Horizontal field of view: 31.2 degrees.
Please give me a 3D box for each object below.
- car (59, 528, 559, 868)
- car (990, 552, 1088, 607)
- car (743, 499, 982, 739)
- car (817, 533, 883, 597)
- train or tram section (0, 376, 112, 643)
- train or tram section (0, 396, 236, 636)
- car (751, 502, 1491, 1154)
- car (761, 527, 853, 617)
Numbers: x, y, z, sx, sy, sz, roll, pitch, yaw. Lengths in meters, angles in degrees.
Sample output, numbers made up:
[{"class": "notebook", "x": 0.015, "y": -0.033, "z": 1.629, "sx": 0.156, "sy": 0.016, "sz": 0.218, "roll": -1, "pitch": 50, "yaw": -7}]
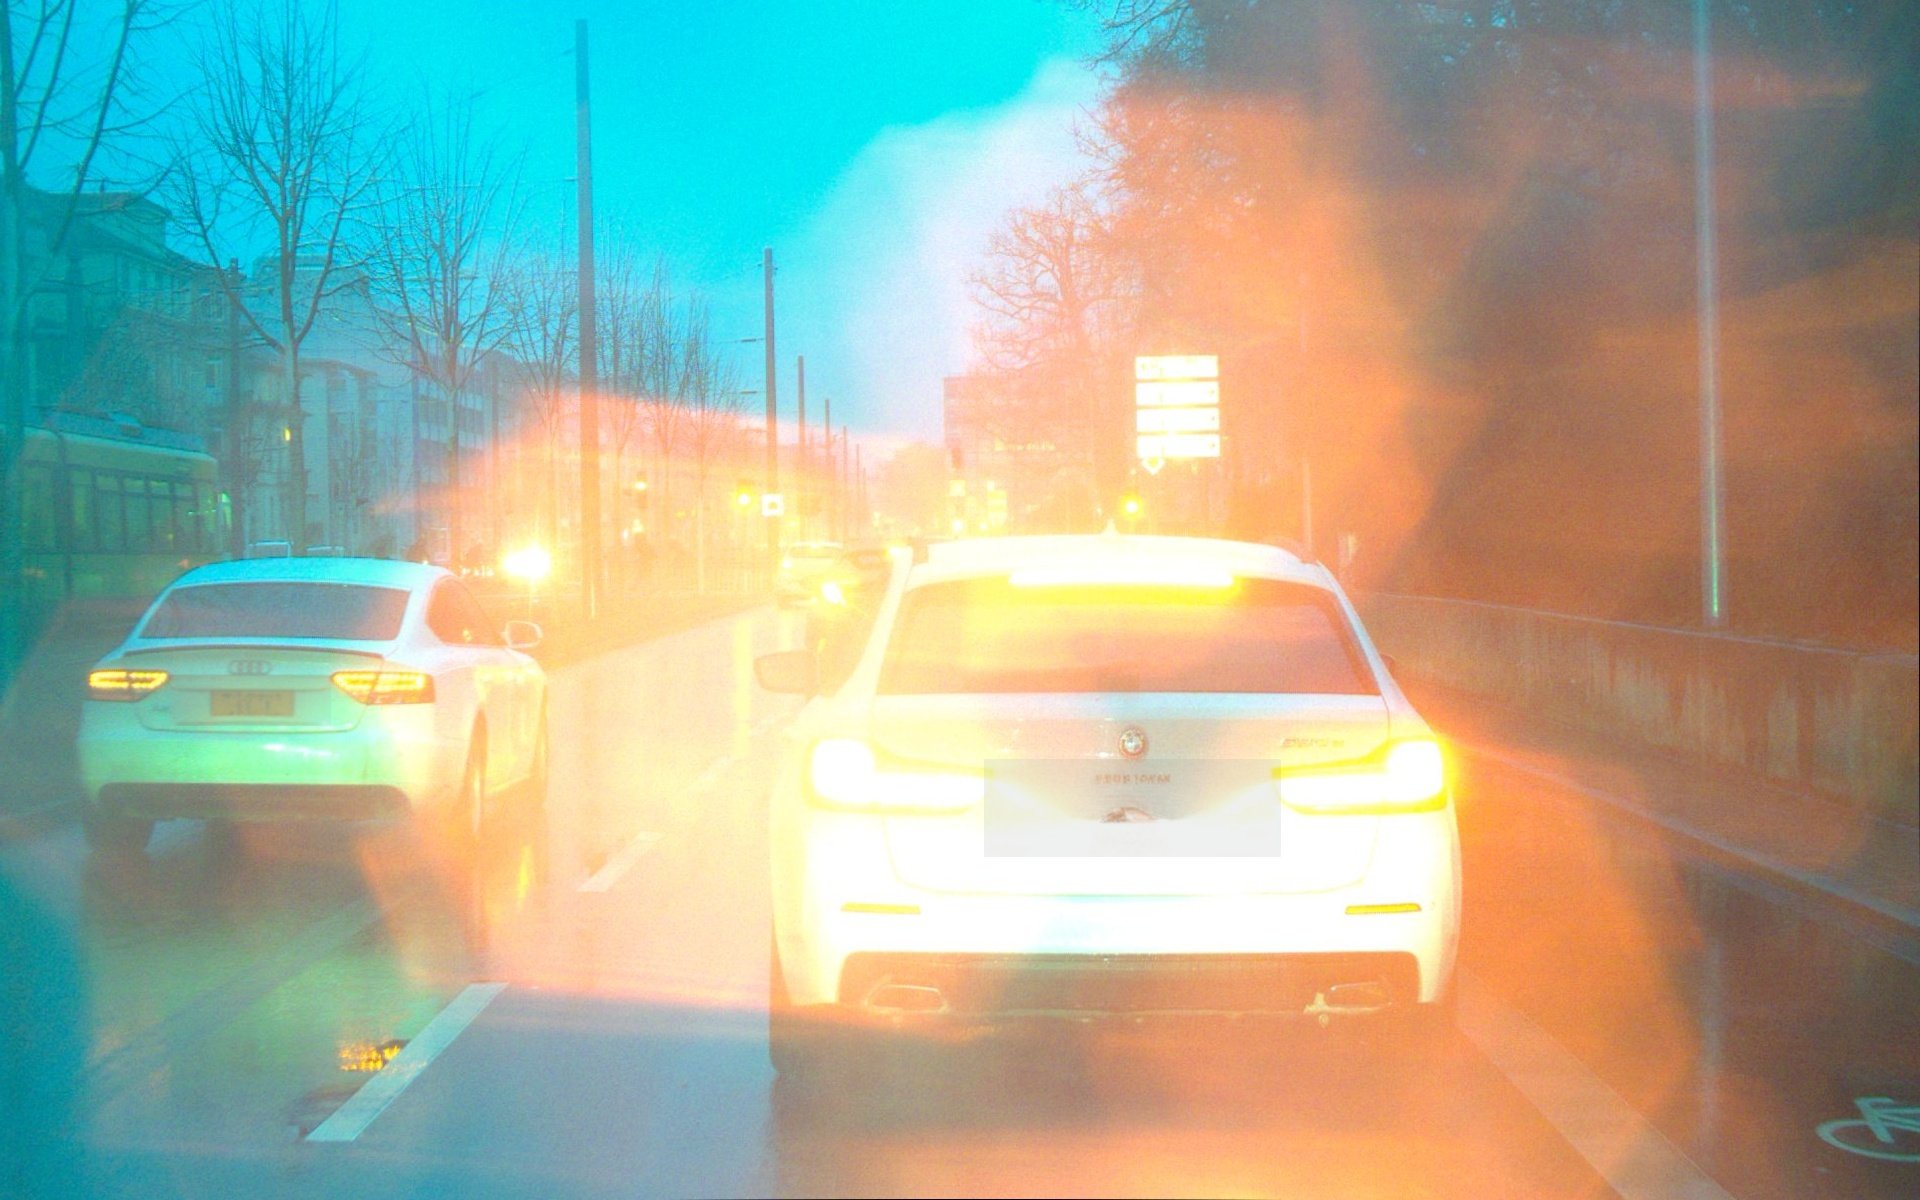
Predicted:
[{"class": "car", "x": -3.084, "y": 0.398, "z": 17.102, "sx": 1.759, "sy": 1.464, "sz": 4.252, "roll": 1, "pitch": 1, "yaw": -1}, {"class": "car", "x": 2.987, "y": -0.789, "z": 129.200, "sx": 1.997, "sy": 2.007, "sz": 3.993, "roll": 1, "pitch": 1, "yaw": 30}, {"class": "car", "x": -0.844, "y": 0.131, "z": 31.003, "sx": 1.993, "sy": 2.007, "sz": 4.000, "roll": 1, "pitch": 1, "yaw": -1}, {"class": "car", "x": -3.472, "y": -1.122, "z": 109.386, "sx": 1.993, "sy": 2.007, "sz": 4.000, "roll": 1, "pitch": 1, "yaw": -1}, {"class": "train or tram section", "x": -13.936, "y": -1.164, "z": 46.127, "sx": 2.842, "sy": 3.492, "sz": 9.158, "roll": -2, "pitch": 1, "yaw": -1}, {"class": "train or tram section", "x": -14.033, "y": -1.288, "z": 55.265, "sx": 2.842, "sy": 3.492, "sz": 9.158, "roll": -2, "pitch": 1, "yaw": -1}, {"class": "car", "x": 0.271, "y": 0.519, "z": 10.331, "sx": 1.759, "sy": 1.547, "sz": 4.252, "roll": 0, "pitch": 1, "yaw": -3}, {"class": "car", "x": -3.508, "y": -0.655, "z": 79.492, "sx": 1.993, "sy": 2.007, "sz": 4.000, "roll": 1, "pitch": 1, "yaw": -1}]
